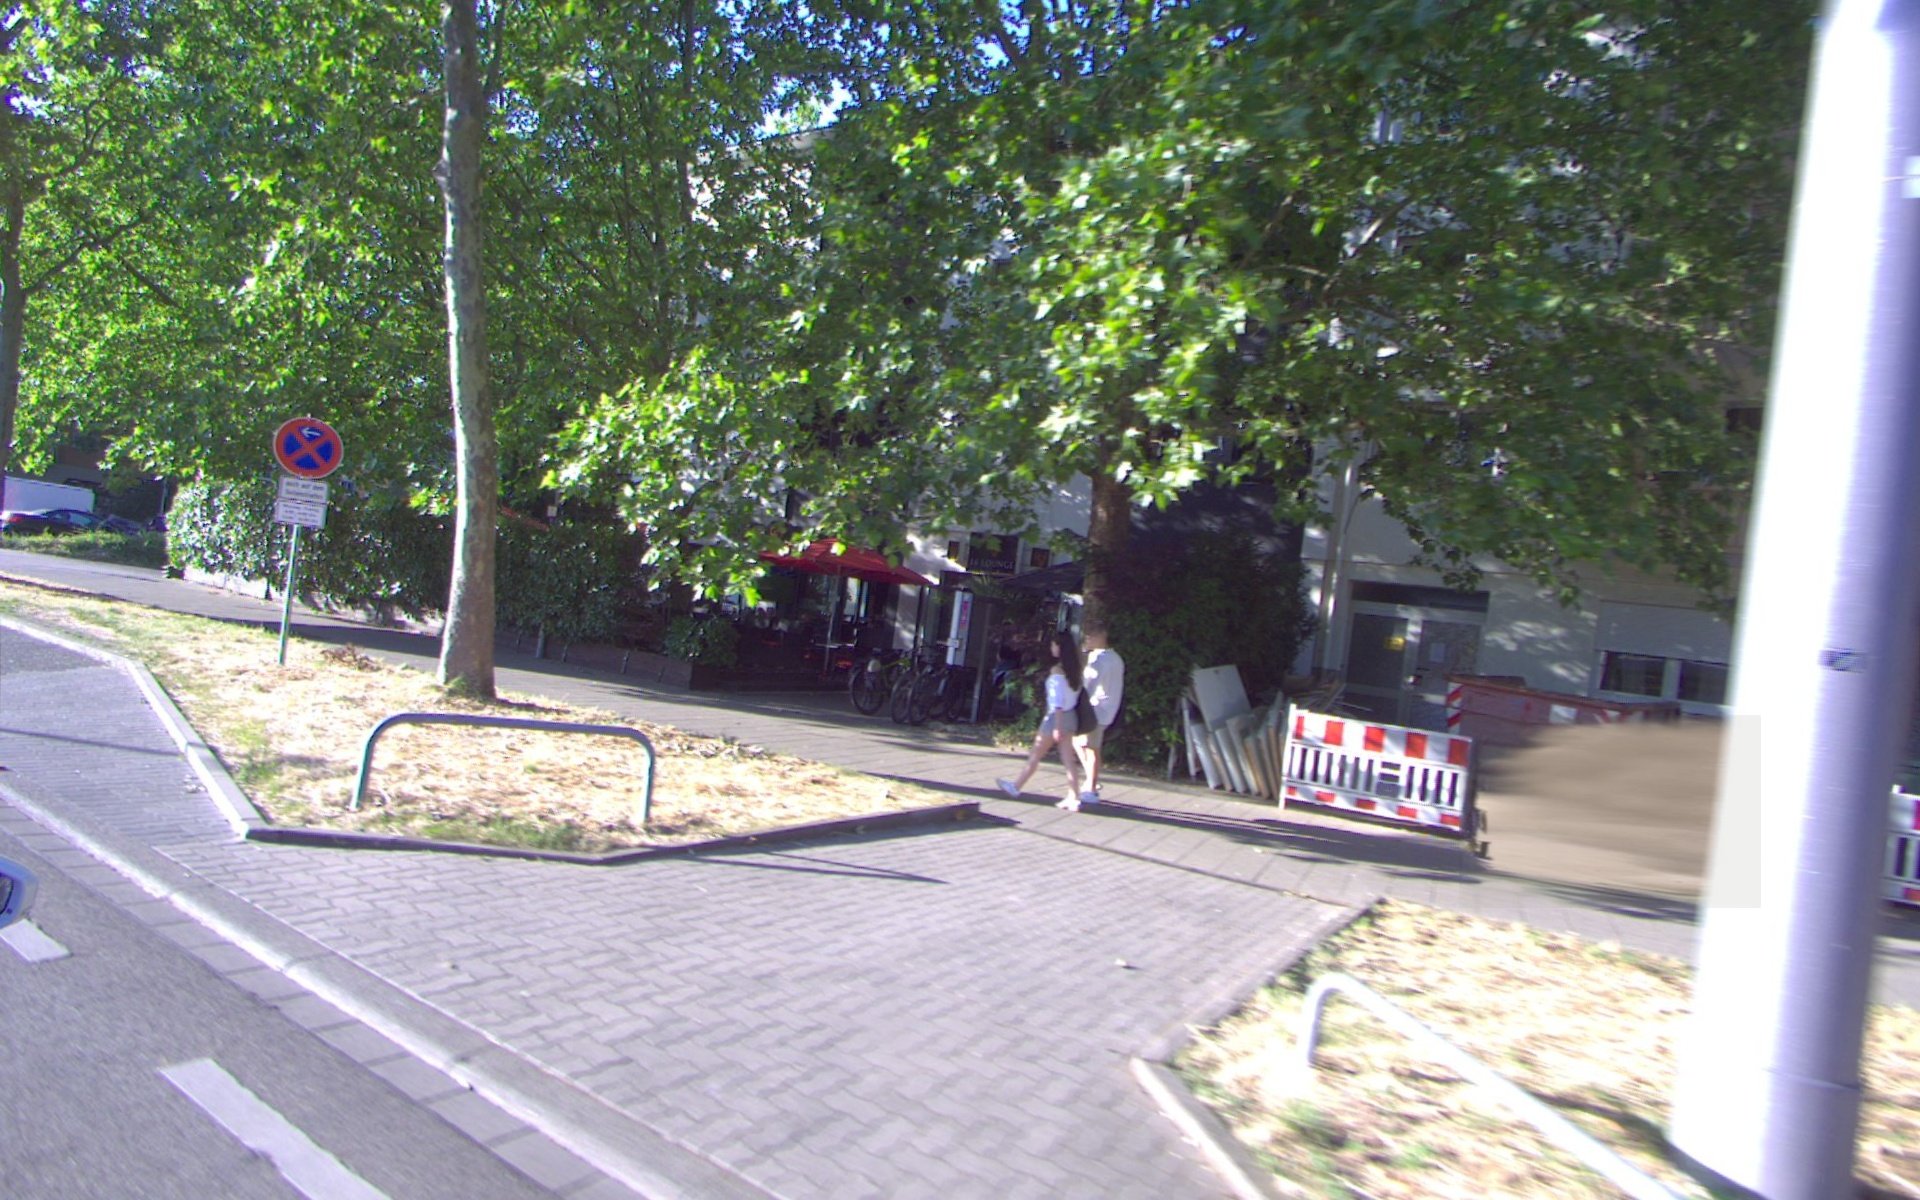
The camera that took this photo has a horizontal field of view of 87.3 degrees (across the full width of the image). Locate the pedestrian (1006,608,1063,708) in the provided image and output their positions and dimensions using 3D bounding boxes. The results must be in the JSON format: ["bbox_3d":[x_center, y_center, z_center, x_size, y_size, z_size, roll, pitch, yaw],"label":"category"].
[{"bbox_3d":[1.503,1.176,20.191,0.688,1.895,0.740,7,0,28],"label":"pedestrian"}]

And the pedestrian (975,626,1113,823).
[{"bbox_3d":[0.765,1.094,9.059,0.802,1.591,0.792,7,0,29],"label":"pedestrian"}]

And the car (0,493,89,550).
[{"bbox_3d":[-33.580,-2.900,35.491,1.679,1.656,3.925,6,-1,33],"label":"car"}]

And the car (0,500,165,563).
[{"bbox_3d":[-27.228,-2.107,30.959,1.679,1.352,3.924,6,-1,34],"label":"car"}]

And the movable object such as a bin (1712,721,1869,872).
[{"bbox_3d":[9.151,2.159,11.090,1.285,1.451,0.833,8,-1,-31],"label":"movable object such as a bin"}]

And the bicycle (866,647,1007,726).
[{"bbox_3d":[-0.302,1.302,14.975,0.654,1.036,2.373,5,-2,39],"label":"bicycle"}]

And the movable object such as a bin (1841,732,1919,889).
[{"bbox_3d":[9.900,2.182,10.401,1.288,1.451,0.831,8,-1,-37],"label":"movable object such as a bin"}]

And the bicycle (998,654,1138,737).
[{"bbox_3d":[1.650,1.429,15.365,1.926,0.982,0.650,7,0,20],"label":"bicycle"}]

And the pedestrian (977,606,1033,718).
[{"bbox_3d":[0.796,1.098,18.127,0.688,1.895,0.741,7,0,-5],"label":"pedestrian"}]

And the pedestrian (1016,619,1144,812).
[{"bbox_3d":[1.175,1.093,9.745,0.802,1.687,0.792,7,0,29],"label":"pedestrian"}]

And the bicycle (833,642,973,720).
[{"bbox_3d":[-0.844,1.286,15.708,0.654,1.036,2.373,6,-2,40],"label":"bicycle"}]

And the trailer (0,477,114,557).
[{"bbox_3d":[-29.486,-2.682,32.257,1.849,2.094,3.067,7,-1,34],"label":"trailer"}]

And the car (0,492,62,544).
[{"bbox_3d":[-35.590,-3.166,36.635,1.679,1.657,3.925,6,-1,33],"label":"car"}]
